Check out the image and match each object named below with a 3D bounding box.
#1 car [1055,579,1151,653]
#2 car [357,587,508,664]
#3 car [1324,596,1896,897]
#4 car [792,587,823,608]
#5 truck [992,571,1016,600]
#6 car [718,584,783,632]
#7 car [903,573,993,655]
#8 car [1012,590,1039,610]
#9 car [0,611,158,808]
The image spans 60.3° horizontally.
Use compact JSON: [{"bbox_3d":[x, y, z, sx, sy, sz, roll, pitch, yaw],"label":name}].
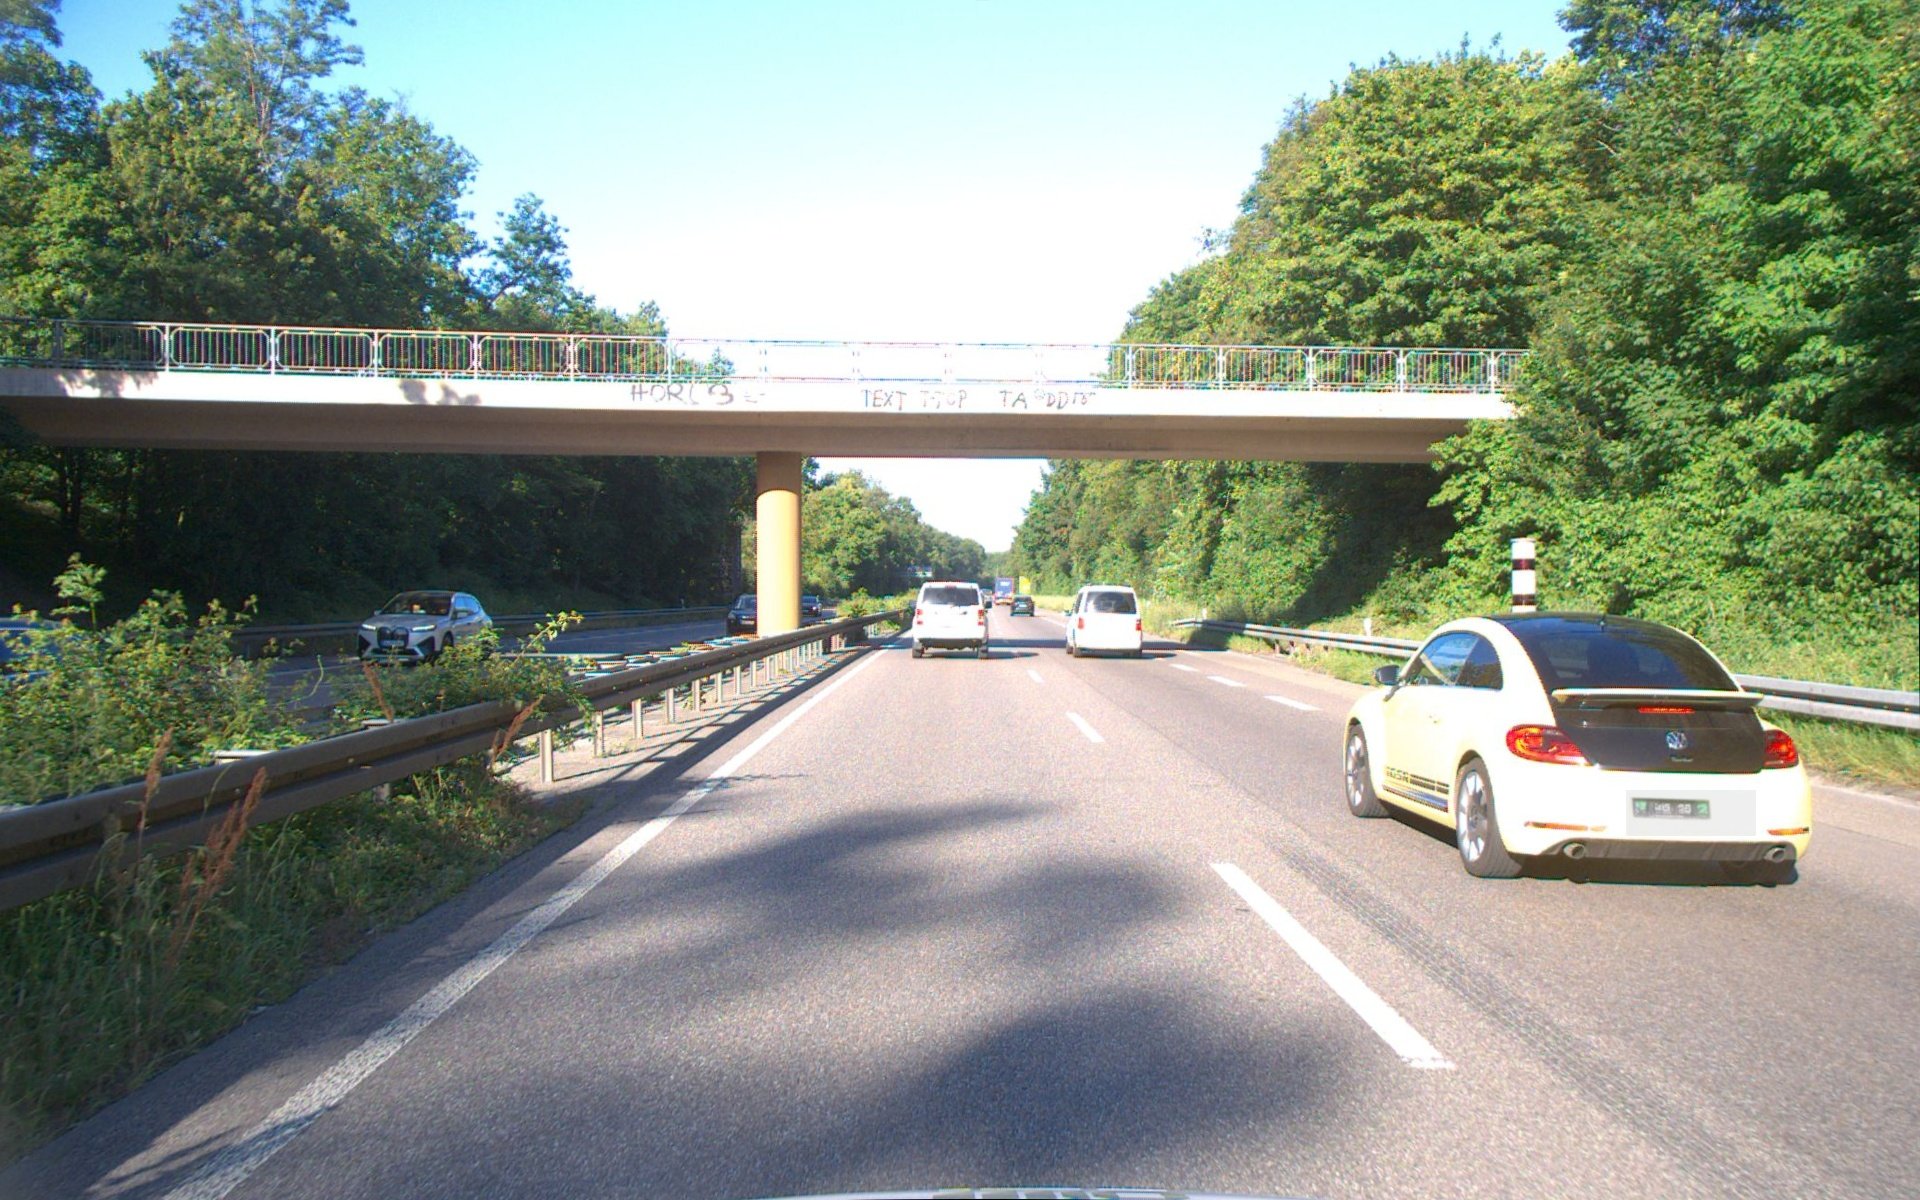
[{"bbox_3d":[3.640,0.367,42.855,1.827,1.801,4.466,0,0,-4],"label":"car"},{"bbox_3d":[-12.410,0.551,39.282,1.920,1.688,5.041,0,0,1],"label":"car"},{"bbox_3d":[3.790,0.742,10.586,1.841,1.487,4.355,1,0,-2],"label":"car"},{"bbox_3d":[-11.401,-0.185,123.675,1.920,1.475,4.583,1,0,0],"label":"car"},{"bbox_3d":[6.512,-2.129,246.340,3.424,4.245,8.862,0,0,1],"label":"truck"},{"bbox_3d":[-8.042,0.275,63.805,1.920,1.754,4.592,0,0,0],"label":"car"},{"bbox_3d":[-0.311,0.311,40.086,2.043,1.860,3.999,1,0,-1],"label":"car"},{"bbox_3d":[4.880,-0.004,123.512,1.952,1.422,4.000,0,0,1],"label":"car"},{"bbox_3d":[-8.467,0.883,13.228,1.814,1.515,4.784,0,0,-1],"label":"car"}]
